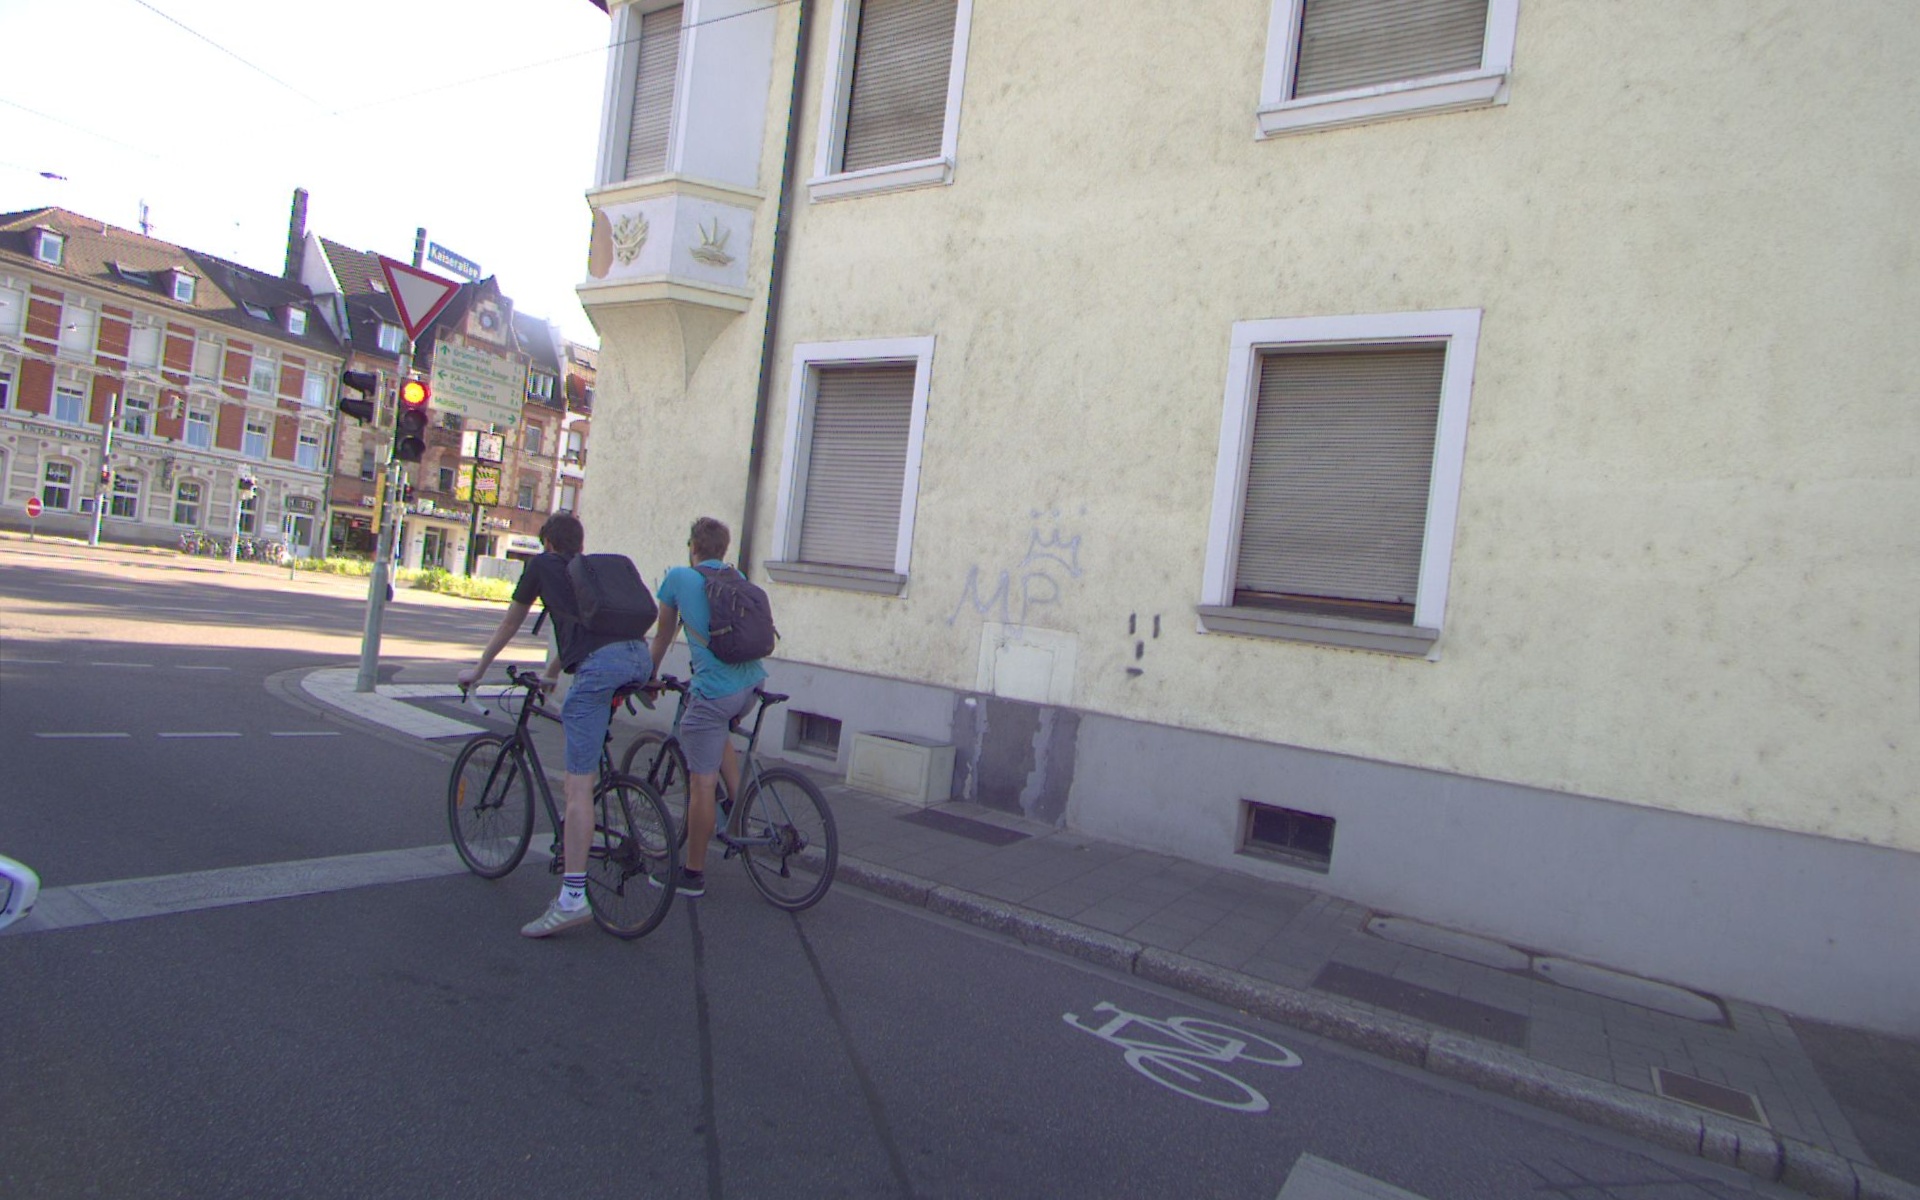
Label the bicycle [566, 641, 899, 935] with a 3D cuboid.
[{"bbox_3d":[-1.240,0.893,5.269,1.784,1.130,0.519,7,0,34],"label":"bicycle"}]

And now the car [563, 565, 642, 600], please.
[{"bbox_3d":[-23.150,-1.107,65.309,2.116,1.660,4.340,7,-1,31],"label":"car"}]

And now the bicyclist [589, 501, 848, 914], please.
[{"bbox_3d":[-1.256,0.506,5.234,0.961,1.917,0.602,6,-1,34],"label":"bicyclist"}]

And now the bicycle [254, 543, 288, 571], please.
[{"bbox_3d":[-33.094,-2.057,48.304,2.102,1.150,0.609,7,0,37],"label":"bicycle"}]

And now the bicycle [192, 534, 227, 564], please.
[{"bbox_3d":[-34.527,-2.346,46.271,2.140,1.157,0.618,7,0,37],"label":"bicycle"}]

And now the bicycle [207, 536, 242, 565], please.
[{"bbox_3d":[-34.192,-2.298,46.748,2.140,1.157,0.618,7,0,37],"label":"bicycle"}]

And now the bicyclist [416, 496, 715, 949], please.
[{"bbox_3d":[-1.789,0.480,4.534,1.083,1.775,0.562,7,0,34],"label":"bicyclist"}]

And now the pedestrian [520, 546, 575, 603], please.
[{"bbox_3d":[-16.548,-1.027,40.366,1.285,2.068,1.321,7,0,31],"label":"pedestrian"}]

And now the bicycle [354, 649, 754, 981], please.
[{"bbox_3d":[-1.901,0.861,4.580,1.897,1.023,0.645,7,0,34],"label":"bicycle"}]

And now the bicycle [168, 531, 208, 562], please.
[{"bbox_3d":[-35.041,-2.436,45.668,2.140,1.157,0.806,7,0,37],"label":"bicycle"}]

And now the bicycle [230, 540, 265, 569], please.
[{"bbox_3d":[-33.659,-2.151,47.500,2.140,1.157,0.618,7,0,37],"label":"bicycle"}]
